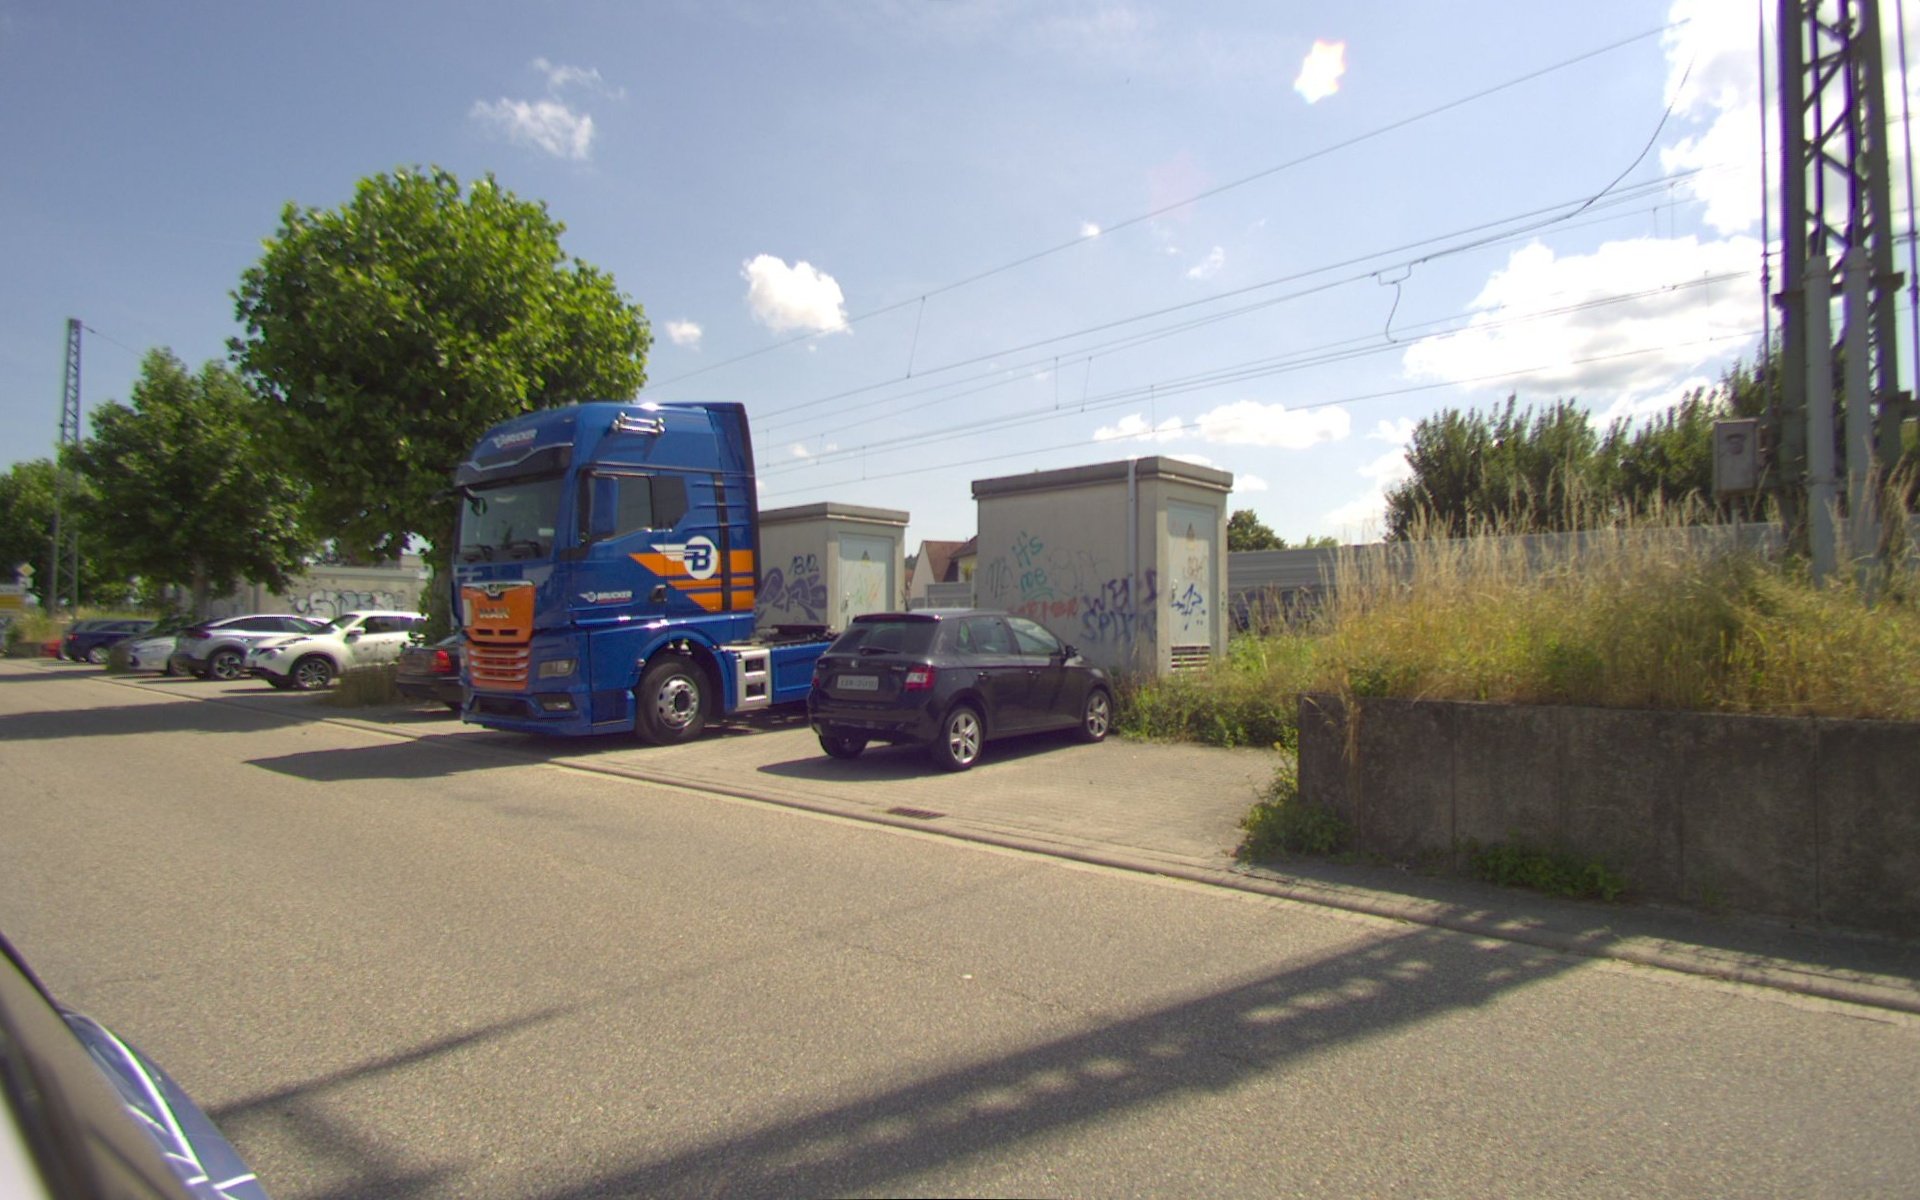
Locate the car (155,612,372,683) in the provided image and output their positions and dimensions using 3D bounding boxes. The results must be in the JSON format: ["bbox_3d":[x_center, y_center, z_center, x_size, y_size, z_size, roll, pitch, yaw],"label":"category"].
[{"bbox_3d":[-16.826,1.095,24.595,1.998,1.559,3.948,-1,-1,39],"label":"car"}]

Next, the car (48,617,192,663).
[{"bbox_3d":[-29.317,1.350,35.389,1.682,1.459,3.630,-1,-1,39],"label":"car"}]

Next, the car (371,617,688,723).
[{"bbox_3d":[-6.542,0.974,15.741,1.870,1.406,4.166,-1,-1,40],"label":"car"}]

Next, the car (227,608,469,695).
[{"bbox_3d":[-12.699,1.027,21.195,1.848,1.630,3.933,-1,-2,37],"label":"car"}]

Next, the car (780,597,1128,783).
[{"bbox_3d":[0.100,0.813,10.364,1.697,1.511,3.609,1,-1,37],"label":"car"}]

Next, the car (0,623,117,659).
[{"bbox_3d":[-38.630,1.727,43.009,1.784,1.412,4.033,-1,-1,38],"label":"car"}]

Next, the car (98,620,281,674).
[{"bbox_3d":[-22.894,1.369,30.181,1.786,1.484,4.030,-1,-2,41],"label":"car"}]

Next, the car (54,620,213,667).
[{"bbox_3d":[-27.367,1.423,33.574,1.788,1.461,3.900,-1,-2,45],"label":"car"}]

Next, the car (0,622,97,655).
[{"bbox_3d":[-42.346,1.744,46.086,1.785,1.421,4.384,-1,-3,38],"label":"car"}]

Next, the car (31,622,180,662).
[{"bbox_3d":[-31.631,1.550,37.565,1.673,1.379,4.031,-3,-3,41],"label":"car"}]

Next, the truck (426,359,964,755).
[{"bbox_3d":[-3.020,-0.376,13.246,2.661,3.852,6.549,-1,-1,38],"label":"truck"}]

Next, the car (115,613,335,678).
[{"bbox_3d":[-18.936,1.124,26.235,1.925,1.544,4.294,-2,-2,40],"label":"car"}]

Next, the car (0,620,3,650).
[{"bbox_3d":[-50.551,1.782,52.162,1.665,1.542,4.067,2,-3,-43],"label":"car"}]
